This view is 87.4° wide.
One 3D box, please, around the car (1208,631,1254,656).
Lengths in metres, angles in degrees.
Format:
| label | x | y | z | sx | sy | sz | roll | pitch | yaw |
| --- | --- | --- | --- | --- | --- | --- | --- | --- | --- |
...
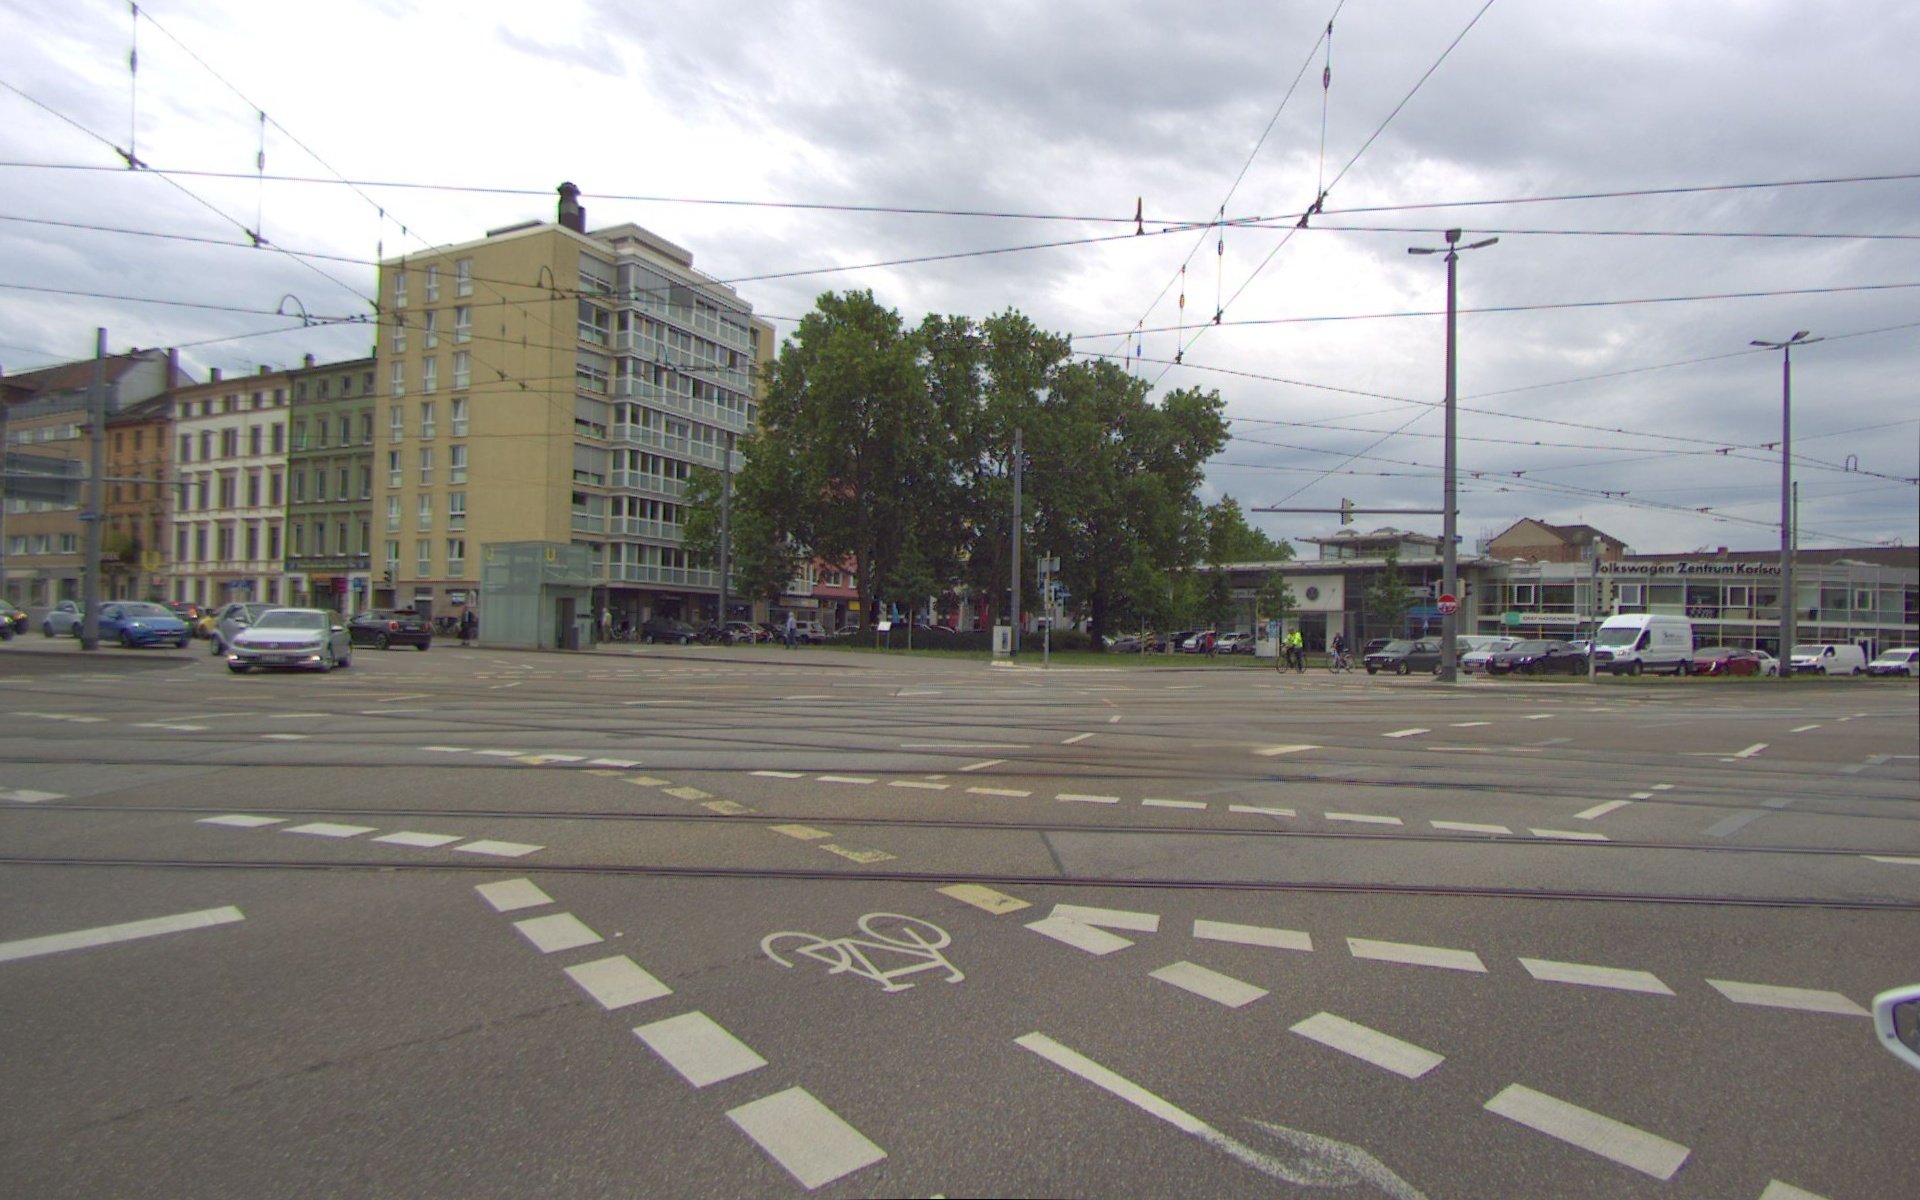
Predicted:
| label | x | y | z | sx | sy | sz | roll | pitch | yaw |
| --- | --- | --- | --- | --- | --- | --- | --- | --- | --- |
| car | 23.370 | 3.727 | 86.483 | 3.972 | 2.040 | 1.974 | 3 | -1 | -43 |

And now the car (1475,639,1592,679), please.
| label | x | y | z | sx | sy | sz | roll | pitch | yaw |
| --- | --- | --- | --- | --- | --- | --- | --- | --- | --- |
| car | 22.093 | 2.262 | 38.654 | 4.610 | 1.439 | 1.983 | 2 | -2 | -32 |

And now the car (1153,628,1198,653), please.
| label | x | y | z | sx | sy | sz | roll | pitch | yaw |
| --- | --- | --- | --- | --- | --- | --- | --- | --- | --- |
| car | 19.366 | 3.642 | 90.145 | 3.972 | 2.040 | 1.974 | 3 | -1 | -43 |

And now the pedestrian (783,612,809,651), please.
| label | x | y | z | sx | sy | sz | roll | pitch | yaw |
| --- | --- | --- | --- | --- | --- | --- | --- | --- | --- |
| pedestrian | -7.574 | 1.438 | 46.343 | 0.897 | 1.742 | 0.707 | 2 | -1 | 14 |

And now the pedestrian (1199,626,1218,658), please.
| label | x | y | z | sx | sy | sz | roll | pitch | yaw |
| --- | --- | --- | --- | --- | --- | --- | --- | --- | --- |
| pedestrian | 15.528 | 2.635 | 62.808 | 0.848 | 1.925 | 0.707 | 2 | -1 | -18 |

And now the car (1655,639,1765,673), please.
| label | x | y | z | sx | sy | sz | roll | pitch | yaw |
| --- | --- | --- | --- | --- | --- | --- | --- | --- | --- |
| car | 34.119 | 2.536 | 45.695 | 4.736 | 1.439 | 1.988 | 2 | -1 | -25 |

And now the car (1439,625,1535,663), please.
| label | x | y | z | sx | sy | sz | roll | pitch | yaw |
| --- | --- | --- | --- | --- | --- | --- | --- | --- | --- |
| car | 31.747 | 2.615 | 60.678 | 2.097 | 2.040 | 4.742 | 3 | -1 | -31 |

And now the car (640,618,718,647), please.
| label | x | y | z | sx | sy | sz | roll | pitch | yaw |
| --- | --- | --- | --- | --- | --- | --- | --- | --- | --- |
| car | -16.283 | 1.890 | 58.262 | 3.923 | 1.572 | 1.999 | 1 | -2 | 23 |

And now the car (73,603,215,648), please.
| label | x | y | z | sx | sy | sz | roll | pitch | yaw |
| --- | --- | --- | --- | --- | --- | --- | --- | --- | --- |
| car | -26.513 | 0.818 | 32.643 | 3.924 | 1.327 | 1.999 | 1 | -2 | 24 |

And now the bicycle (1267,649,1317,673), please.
| label | x | y | z | sx | sy | sz | roll | pitch | yaw |
| --- | --- | --- | --- | --- | --- | --- | --- | --- | --- |
| bicycle | 13.278 | 2.431 | 40.107 | 2.194 | 0.942 | 0.516 | 2 | -1 | -28 |

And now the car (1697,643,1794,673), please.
| label | x | y | z | sx | sy | sz | roll | pitch | yaw |
| --- | --- | --- | --- | --- | --- | --- | --- | --- | --- |
| car | 41.272 | 3.050 | 52.791 | 4.682 | 1.439 | 1.990 | 2 | -1 | -22 |

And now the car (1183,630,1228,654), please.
| label | x | y | z | sx | sy | sz | roll | pitch | yaw |
| --- | --- | --- | --- | --- | --- | --- | --- | --- | --- |
| car | 21.610 | 3.698 | 88.254 | 3.972 | 2.040 | 1.974 | 3 | -1 | -43 |

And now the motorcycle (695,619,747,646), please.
| label | x | y | z | sx | sy | sz | roll | pitch | yaw |
| --- | --- | --- | --- | --- | --- | --- | --- | --- | --- |
| motorcycle | -11.635 | 1.560 | 48.872 | 2.500 | 1.194 | 0.863 | 2 | -1 | 27 |

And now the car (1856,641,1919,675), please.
| label | x | y | z | sx | sy | sz | roll | pitch | yaw |
| --- | --- | --- | --- | --- | --- | --- | --- | --- | --- |
| car | 54.370 | 3.341 | 58.021 | 4.454 | 1.863 | 1.991 | 2 | -1 | -20 |

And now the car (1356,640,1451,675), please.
| label | x | y | z | sx | sy | sz | roll | pitch | yaw |
| --- | --- | --- | --- | --- | --- | --- | --- | --- | --- |
| car | 17.666 | 2.285 | 39.994 | 3.696 | 1.263 | 1.677 | 2 | -2 | -32 |

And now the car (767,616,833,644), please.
| label | x | y | z | sx | sy | sz | roll | pitch | yaw |
| --- | --- | --- | --- | --- | --- | --- | --- | --- | --- |
| car | -10.987 | 2.049 | 69.055 | 3.922 | 1.728 | 2.000 | 2 | -1 | 22 |

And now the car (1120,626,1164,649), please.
| label | x | y | z | sx | sy | sz | roll | pitch | yaw |
| --- | --- | --- | --- | --- | --- | --- | --- | --- | --- |
| car | 16.837 | 3.477 | 92.831 | 3.972 | 2.040 | 1.974 | 3 | -1 | -43 |

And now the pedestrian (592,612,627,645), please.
| label | x | y | z | sx | sy | sz | roll | pitch | yaw |
| --- | --- | --- | --- | --- | --- | --- | --- | --- | --- |
| pedestrian | -18.059 | 1.459 | 51.787 | 1.306 | 1.661 | 1.040 | 1 | -1 | 23 |

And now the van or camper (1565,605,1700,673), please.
| label | x | y | z | sx | sy | sz | roll | pitch | yaw |
| --- | --- | --- | --- | --- | --- | --- | --- | --- | --- |
| van or camper | 28.547 | 1.685 | 42.585 | 5.984 | 2.645 | 2.403 | 3 | -1 | -31 |

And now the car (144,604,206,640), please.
| label | x | y | z | sx | sy | sz | roll | pitch | yaw |
| --- | --- | --- | --- | --- | --- | --- | --- | --- | --- |
| car | -36.549 | 1.012 | 46.725 | 1.812 | 1.514 | 3.947 | 3 | -1 | -44 |

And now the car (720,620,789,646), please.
| label | x | y | z | sx | sy | sz | roll | pitch | yaw |
| --- | --- | --- | --- | --- | --- | --- | --- | --- | --- |
| car | -13.354 | 2.130 | 65.164 | 3.923 | 1.572 | 1.999 | 1 | -2 | 23 |

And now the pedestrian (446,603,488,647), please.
| label | x | y | z | sx | sy | sz | roll | pitch | yaw |
| --- | --- | --- | --- | --- | --- | --- | --- | --- | --- |
| pedestrian | -20.972 | 1.073 | 42.719 | 1.020 | 1.808 | 1.180 | 1 | -1 | 22 |

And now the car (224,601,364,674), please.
| label | x | y | z | sx | sy | sz | roll | pitch | yaw |
| --- | --- | --- | --- | --- | --- | --- | --- | --- | --- |
| car | -15.418 | 0.852 | 23.530 | 1.973 | 1.513 | 4.650 | 2 | -2 | -25 |

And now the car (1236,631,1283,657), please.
| label | x | y | z | sx | sy | sz | roll | pitch | yaw |
| --- | --- | --- | --- | --- | --- | --- | --- | --- | --- |
| car | 25.118 | 3.683 | 84.254 | 3.972 | 2.040 | 1.974 | 3 | -1 | -43 |

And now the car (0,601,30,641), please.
| label | x | y | z | sx | sy | sz | roll | pitch | yaw |
| --- | --- | --- | --- | --- | --- | --- | --- | --- | --- |
| car | -37.037 | 0.727 | 37.507 | 3.924 | 1.461 | 1.999 | 1 | -2 | 24 |

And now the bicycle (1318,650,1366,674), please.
| label | x | y | z | sx | sy | sz | roll | pitch | yaw |
| --- | --- | --- | --- | --- | --- | --- | --- | --- | --- |
| bicycle | 15.805 | 2.544 | 41.504 | 2.194 | 0.938 | 0.516 | 2 | -1 | -28 |

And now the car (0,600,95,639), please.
| label | x | y | z | sx | sy | sz | roll | pitch | yaw |
| --- | --- | --- | --- | --- | --- | --- | --- | --- | --- |
| car | -36.730 | 0.753 | 39.956 | 3.924 | 1.461 | 1.999 | 1 | -2 | 24 |

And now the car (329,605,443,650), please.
| label | x | y | z | sx | sy | sz | roll | pitch | yaw |
| --- | --- | --- | --- | --- | --- | --- | --- | --- | --- |
| car | -20.603 | 0.986 | 36.057 | 3.928 | 1.488 | 1.772 | 1 | -2 | 30 |

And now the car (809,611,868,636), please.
| label | x | y | z | sx | sy | sz | roll | pitch | yaw |
| --- | --- | --- | --- | --- | --- | --- | --- | --- | --- |
| car | -9.262 | 1.818 | 76.670 | 3.922 | 1.728 | 2.000 | 2 | -1 | 22 |

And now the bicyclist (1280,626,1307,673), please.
| label | x | y | z | sx | sy | sz | roll | pitch | yaw |
| --- | --- | --- | --- | --- | --- | --- | --- | --- | --- |
| bicyclist | 13.350 | 1.983 | 40.168 | 0.787 | 1.827 | 0.625 | 2 | -1 | -27 |

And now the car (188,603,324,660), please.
| label | x | y | z | sx | sy | sz | roll | pitch | yaw |
| --- | --- | --- | --- | --- | --- | --- | --- | --- | --- |
| car | -20.746 | 0.925 | 29.590 | 3.557 | 1.513 | 1.996 | 1 | -1 | 31 |

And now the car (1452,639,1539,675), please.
| label | x | y | z | sx | sy | sz | roll | pitch | yaw |
| --- | --- | --- | --- | --- | --- | --- | --- | --- | --- |
| car | 22.639 | 2.402 | 42.440 | 3.696 | 1.439 | 1.626 | 2 | -2 | -32 |

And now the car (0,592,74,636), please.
| label | x | y | z | sx | sy | sz | roll | pitch | yaw |
| --- | --- | --- | --- | --- | --- | --- | --- | --- | --- |
| car | -40.551 | 0.577 | 43.349 | 3.924 | 1.751 | 1.999 | 2 | -1 | 24 |

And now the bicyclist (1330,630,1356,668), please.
| label | x | y | z | sx | sy | sz | roll | pitch | yaw |
| --- | --- | --- | --- | --- | --- | --- | --- | --- | --- |
| bicyclist | 15.830 | 2.014 | 41.524 | 0.846 | 1.528 | 0.563 | 0 | -1 | -27 |

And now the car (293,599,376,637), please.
| label | x | y | z | sx | sy | sz | roll | pitch | yaw |
| --- | --- | --- | --- | --- | --- | --- | --- | --- | --- |
| car | -31.530 | 0.895 | 50.769 | 2.043 | 1.778 | 3.995 | 2 | -1 | -8 |

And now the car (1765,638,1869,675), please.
| label | x | y | z | sx | sy | sz | roll | pitch | yaw |
| --- | --- | --- | --- | --- | --- | --- | --- | --- | --- |
| car | 46.935 | 3.072 | 55.002 | 5.368 | 1.881 | 2.153 | 2 | -1 | -22 |
